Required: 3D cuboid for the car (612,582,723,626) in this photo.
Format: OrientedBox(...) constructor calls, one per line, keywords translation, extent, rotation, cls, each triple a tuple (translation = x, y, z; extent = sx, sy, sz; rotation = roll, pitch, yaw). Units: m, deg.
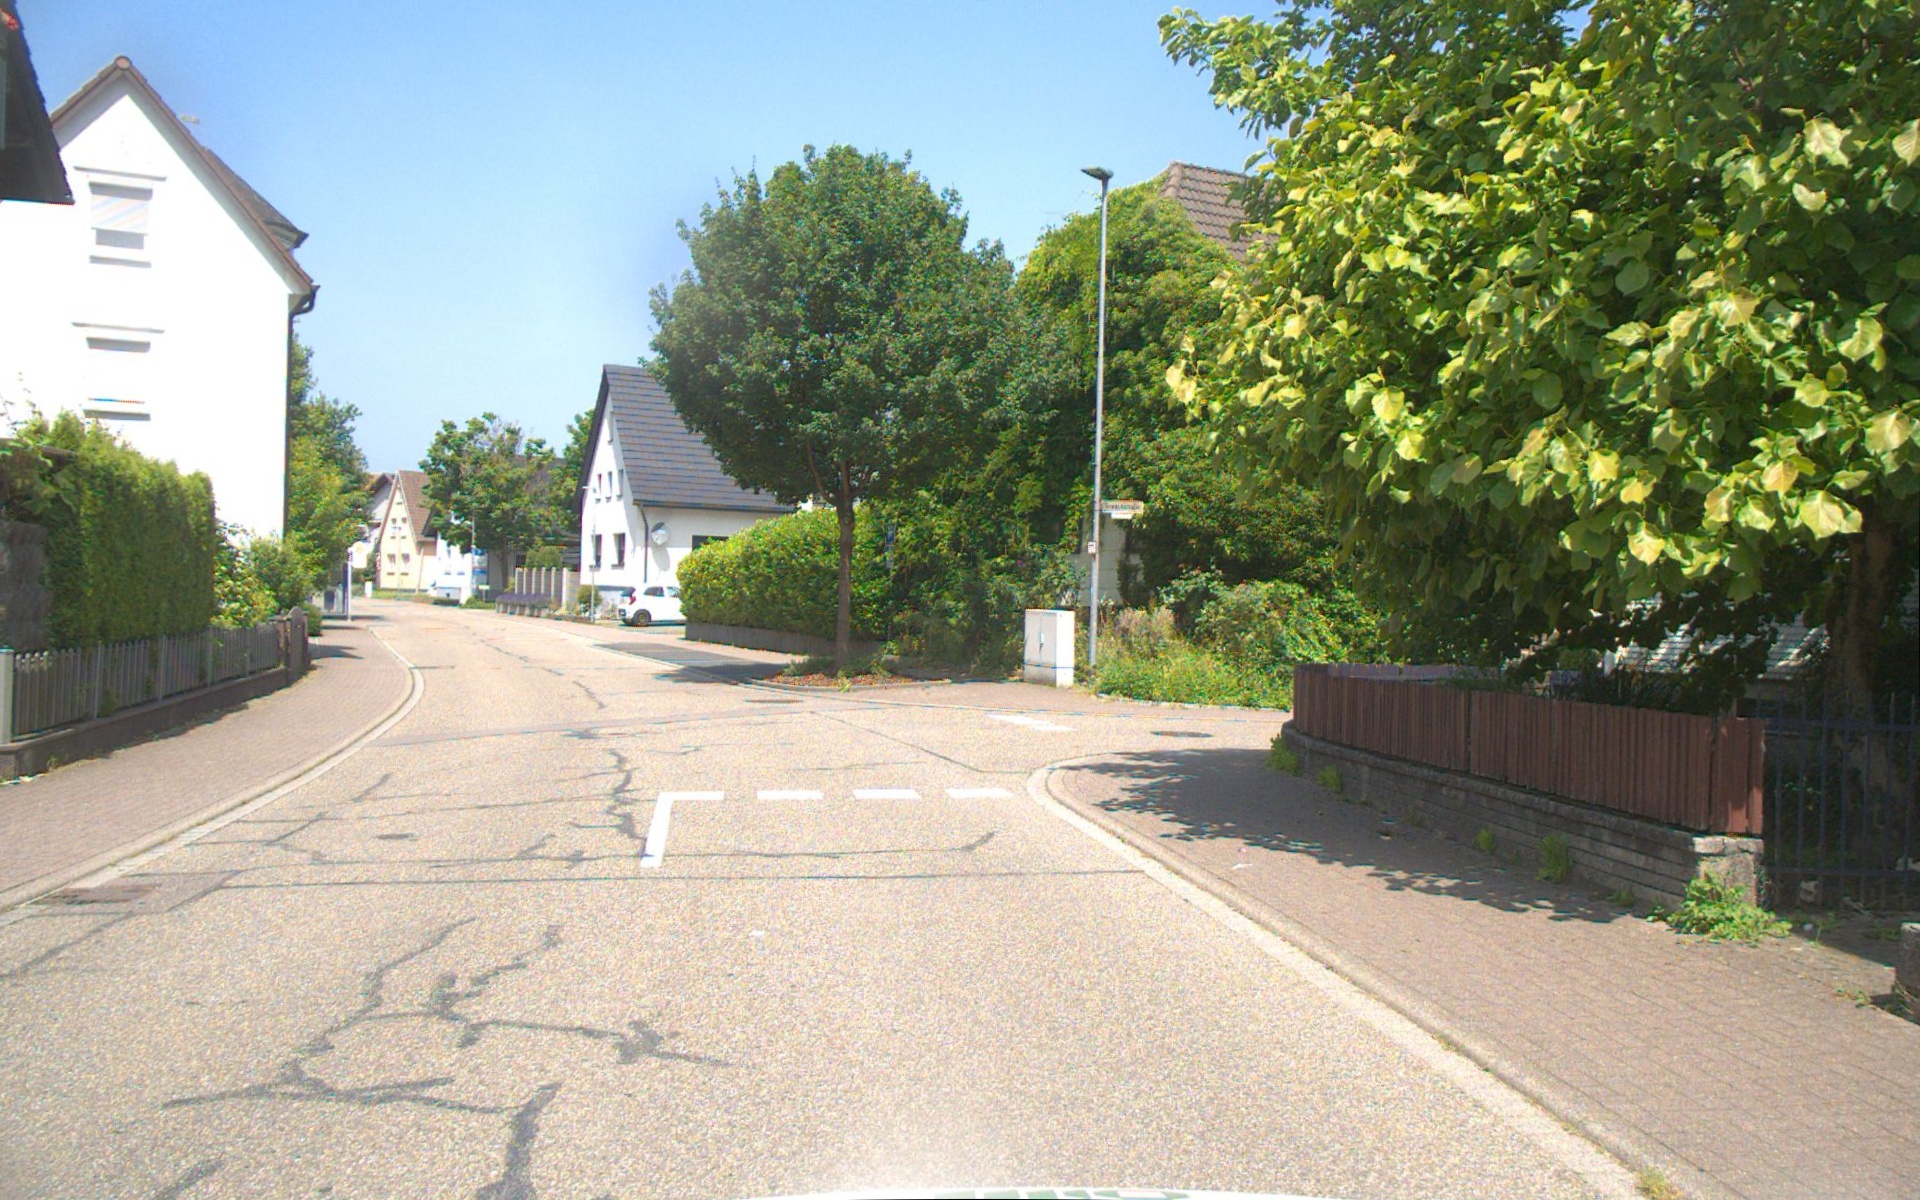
OrientedBox(translation=(-10.590, 0.125, 59.820), extent=(3.617, 1.500, 1.749), rotation=(0, 2, -29), cls="car")
